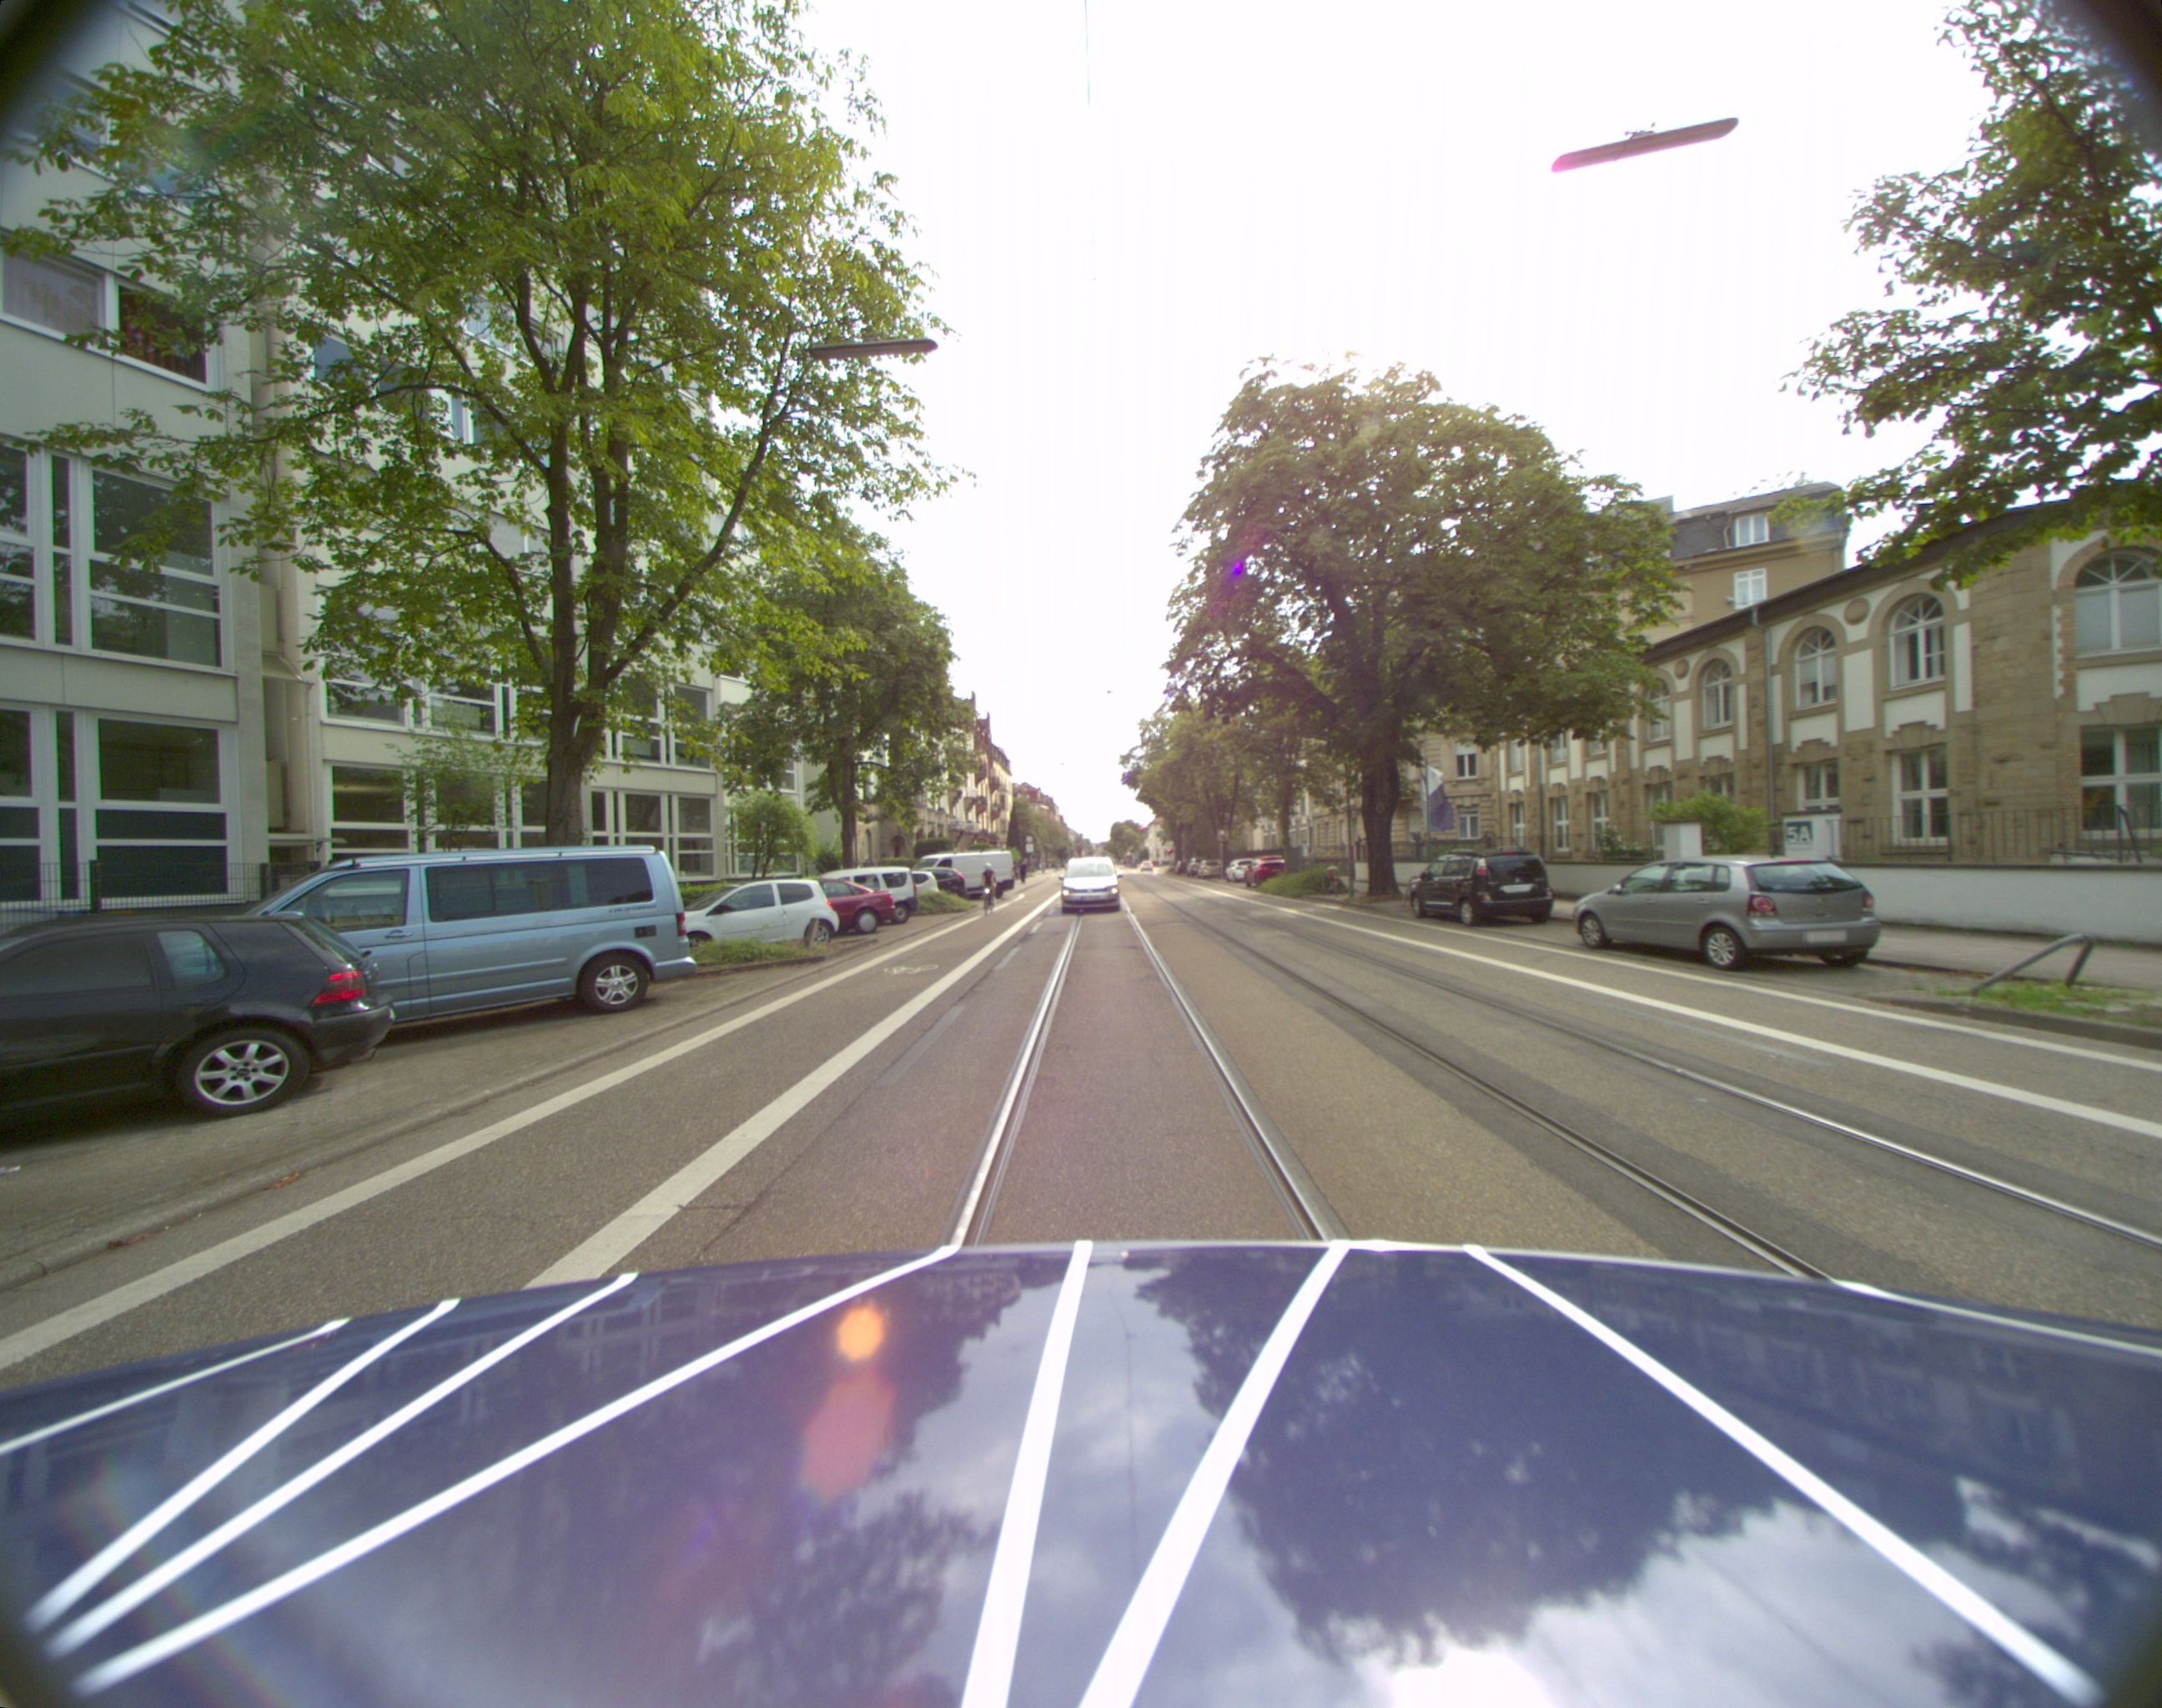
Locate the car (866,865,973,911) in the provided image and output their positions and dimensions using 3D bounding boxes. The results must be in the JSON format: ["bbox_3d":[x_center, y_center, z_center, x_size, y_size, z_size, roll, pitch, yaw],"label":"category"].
[{"bbox_3d":[-6.592,1.357,31.283,3.968,1.639,1.685,-2,0,-43],"label":"car"}]

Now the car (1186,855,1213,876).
[{"bbox_3d":[10.388,0.997,66.755,1.714,1.663,4.357,-2,0,1],"label":"car"}]

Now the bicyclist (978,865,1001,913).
[{"bbox_3d":[-3.028,1.139,25.219,0.640,1.561,1.110,-1,0,-1],"label":"bicyclist"}]

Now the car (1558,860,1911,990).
[{"bbox_3d":[8.872,0.848,10.839,1.697,1.419,3.868,-3,0,1],"label":"car"}]

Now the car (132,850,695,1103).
[{"bbox_3d":[-6.945,1.044,8.486,4.284,2.003,1.826,-2,0,-43],"label":"car"}]

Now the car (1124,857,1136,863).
[{"bbox_3d":[16.605,2.079,258.885,3.996,1.716,1.877,-3,0,4],"label":"car"}]

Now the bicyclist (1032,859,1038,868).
[{"bbox_3d":[-7.655,1.631,127.487,0.709,1.421,0.616,-2,0,30],"label":"bicyclist"}]

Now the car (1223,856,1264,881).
[{"bbox_3d":[10.410,0.921,48.983,1.725,1.415,4.023,-4,0,0],"label":"car"}]

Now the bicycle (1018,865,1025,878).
[{"bbox_3d":[-5.237,1.523,66.720,0.392,1.135,1.921,0,0,2],"label":"bicycle"}]

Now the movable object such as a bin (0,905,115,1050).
[{"bbox_3d":[-12.163,1.378,8.451,1.072,1.499,1.323,-3,0,2],"label":"movable object such as a bin"}]

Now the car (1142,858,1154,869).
[{"bbox_3d":[9.377,1.304,106.549,1.574,1.407,4.002,0,0,5],"label":"car"}]

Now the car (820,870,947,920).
[{"bbox_3d":[-7.087,1.422,27.558,4.100,1.502,1.685,-2,0,-43],"label":"car"}]

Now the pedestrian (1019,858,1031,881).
[{"bbox_3d":[-4.131,1.157,56.384,0.787,1.722,0.896,1,0,1],"label":"pedestrian"}]

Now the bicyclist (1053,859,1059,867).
[{"bbox_3d":[-4.121,1.547,127.049,0.772,1.357,0.616,-2,0,26],"label":"bicyclist"}]

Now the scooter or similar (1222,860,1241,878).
[{"bbox_3d":[10.330,1.025,52.231,0.563,1.215,1.321,-2,0,-22],"label":"scooter or similar"}]

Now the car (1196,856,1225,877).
[{"bbox_3d":[10.083,0.953,59.218,1.604,1.459,4.079,-2,0,1],"label":"car"}]

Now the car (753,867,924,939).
[{"bbox_3d":[-6.636,1.275,21.067,4.116,1.658,1.685,-2,0,-44],"label":"car"}]

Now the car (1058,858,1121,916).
[{"bbox_3d":[0.339,0.997,24.808,1.767,1.660,4.330,-3,0,2],"label":"car"}]

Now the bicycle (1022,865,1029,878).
[{"bbox_3d":[-5.064,1.582,69.432,0.392,1.096,1.759,0,0,2],"label":"bicycle"}]

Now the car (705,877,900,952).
[{"bbox_3d":[-6.577,1.356,18.194,3.983,1.424,1.685,-2,0,-41],"label":"car"}]

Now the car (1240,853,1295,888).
[{"bbox_3d":[9.797,0.832,40.259,1.725,1.645,4.542,-4,0,0],"label":"car"}]

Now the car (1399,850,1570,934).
[{"bbox_3d":[9.043,0.778,17.447,1.760,1.637,4.052,-3,0,1],"label":"car"}]

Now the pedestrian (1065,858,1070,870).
[{"bbox_3d":[-2.093,1.522,115.923,0.721,1.650,0.759,2,0,-2],"label":"pedestrian"}]

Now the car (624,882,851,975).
[{"bbox_3d":[-6.744,1.373,15.150,3.723,1.424,1.685,-2,0,-43],"label":"car"}]

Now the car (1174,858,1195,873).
[{"bbox_3d":[10.732,1.164,78.824,1.724,1.416,4.167,-4,0,3],"label":"car"}]

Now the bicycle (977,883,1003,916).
[{"bbox_3d":[-3.014,1.502,25.257,0.640,0.975,2.071,-1,0,-1],"label":"bicycle"}]

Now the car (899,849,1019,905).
[{"bbox_3d":[-5.667,1.022,35.656,4.968,2.277,2.378,-2,0,-41],"label":"car"}]

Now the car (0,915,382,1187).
[{"bbox_3d":[-7.288,1.312,4.996,1.672,1.451,3.836,-2,0,45],"label":"car"}]

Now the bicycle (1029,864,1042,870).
[{"bbox_3d":[-7.608,2.181,127.468,2.194,1.019,0.616,-2,0,30],"label":"bicycle"}]
